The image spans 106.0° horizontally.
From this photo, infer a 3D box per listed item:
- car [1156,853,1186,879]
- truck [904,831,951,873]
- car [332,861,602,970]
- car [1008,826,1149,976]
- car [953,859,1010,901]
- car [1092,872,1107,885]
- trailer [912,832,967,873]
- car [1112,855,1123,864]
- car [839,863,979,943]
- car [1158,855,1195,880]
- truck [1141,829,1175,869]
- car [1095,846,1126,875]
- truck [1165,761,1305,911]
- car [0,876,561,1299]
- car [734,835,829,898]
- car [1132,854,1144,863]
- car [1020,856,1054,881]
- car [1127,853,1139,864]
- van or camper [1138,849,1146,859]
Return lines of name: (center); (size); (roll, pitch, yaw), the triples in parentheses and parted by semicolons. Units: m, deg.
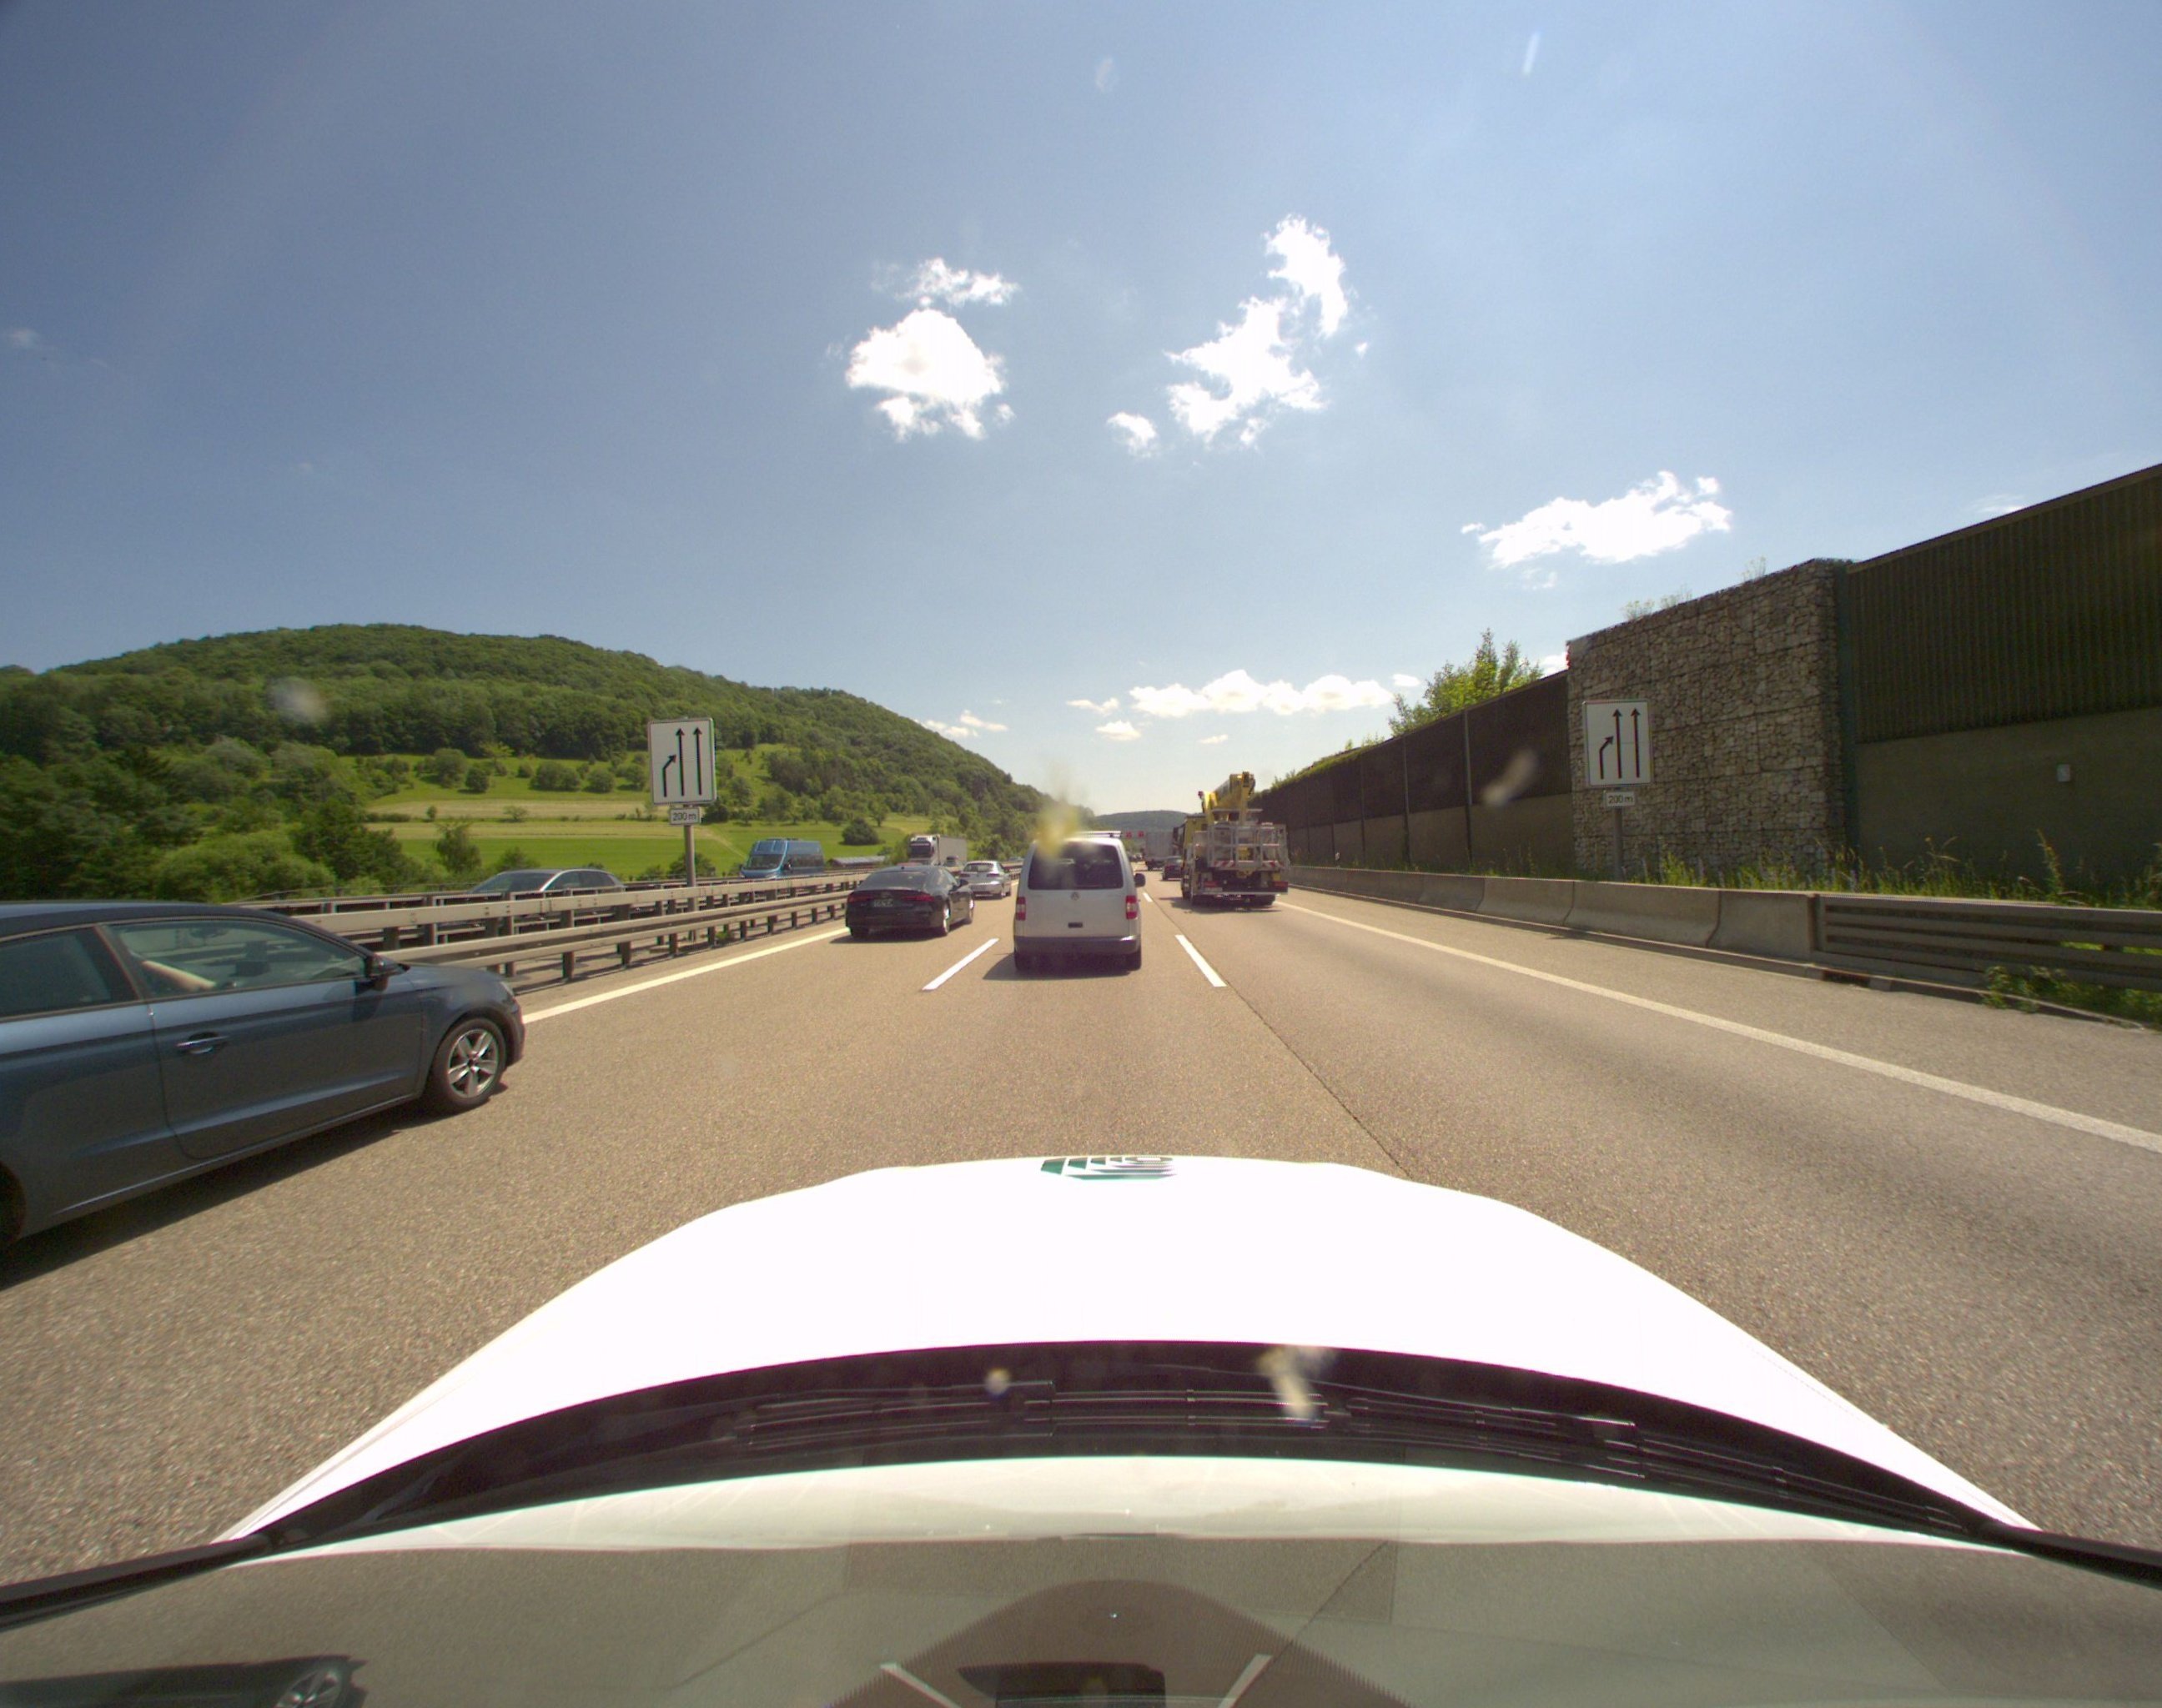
car: (7.343, 0.978, 66.819); (1.987, 2.013, 4.000); (-1, 0, 1)
truck: (-15.707, -0.162, 83.766); (3.266, 4.148, 6.957); (-1, -1, 2)
car: (-11.267, 1.016, 15.410); (1.841, 1.709, 4.282); (-1, 0, 0)
car: (-0.052, 0.598, 12.352); (1.751, 1.868, 3.998); (-1, 0, -1)
car: (-3.724, 0.942, 31.076); (1.690, 1.445, 3.861); (-1, 0, 0)
car: (2.690, 3.484, 115.742); (2.106, 1.828, 4.002); (0, -1, 2)
trailer: (-15.402, -0.087, 89.796); (3.234, 4.204, 13.007); (0, -1, 3)
car: (7.327, 1.176, 163.260); (2.108, 1.828, 3.998); (0, -1, -1)
car: (-3.467, 0.921, 17.410); (1.794, 1.390, 4.970); (-1, 0, 1)
car: (5.824, 0.812, 49.892); (1.781, 1.458, 3.769); (-1, 0, -1)
truck: (7.692, -0.436, 82.089); (2.929, 3.823, 8.240); (0, -1, 2)
car: (2.054, 0.467, 58.307); (1.987, 1.975, 3.998); (-1, 0, -1)
truck: (4.553, -0.470, 26.050); (2.696, 3.942, 8.718); (-1, 0, -1)
car: (-4.577, 0.864, 3.795); (1.683, 1.388, 4.000); (-1, 0, 0)
car: (-14.658, 0.603, 40.386); (2.147, 2.862, 6.401); (0, -1, 2)
car: (11.852, 0.920, 169.467); (2.108, 1.828, 3.998); (0, -1, -1)
car: (-2.711, 0.908, 51.231); (1.919, 1.499, 3.998); (-1, 0, -1)
car: (8.983, 0.787, 141.976); (1.986, 1.749, 4.002); (0, -1, 2)
van or camper: (17.984, -0.066, 239.380); (1.986, 2.954, 5.425); (0, -1, 2)
